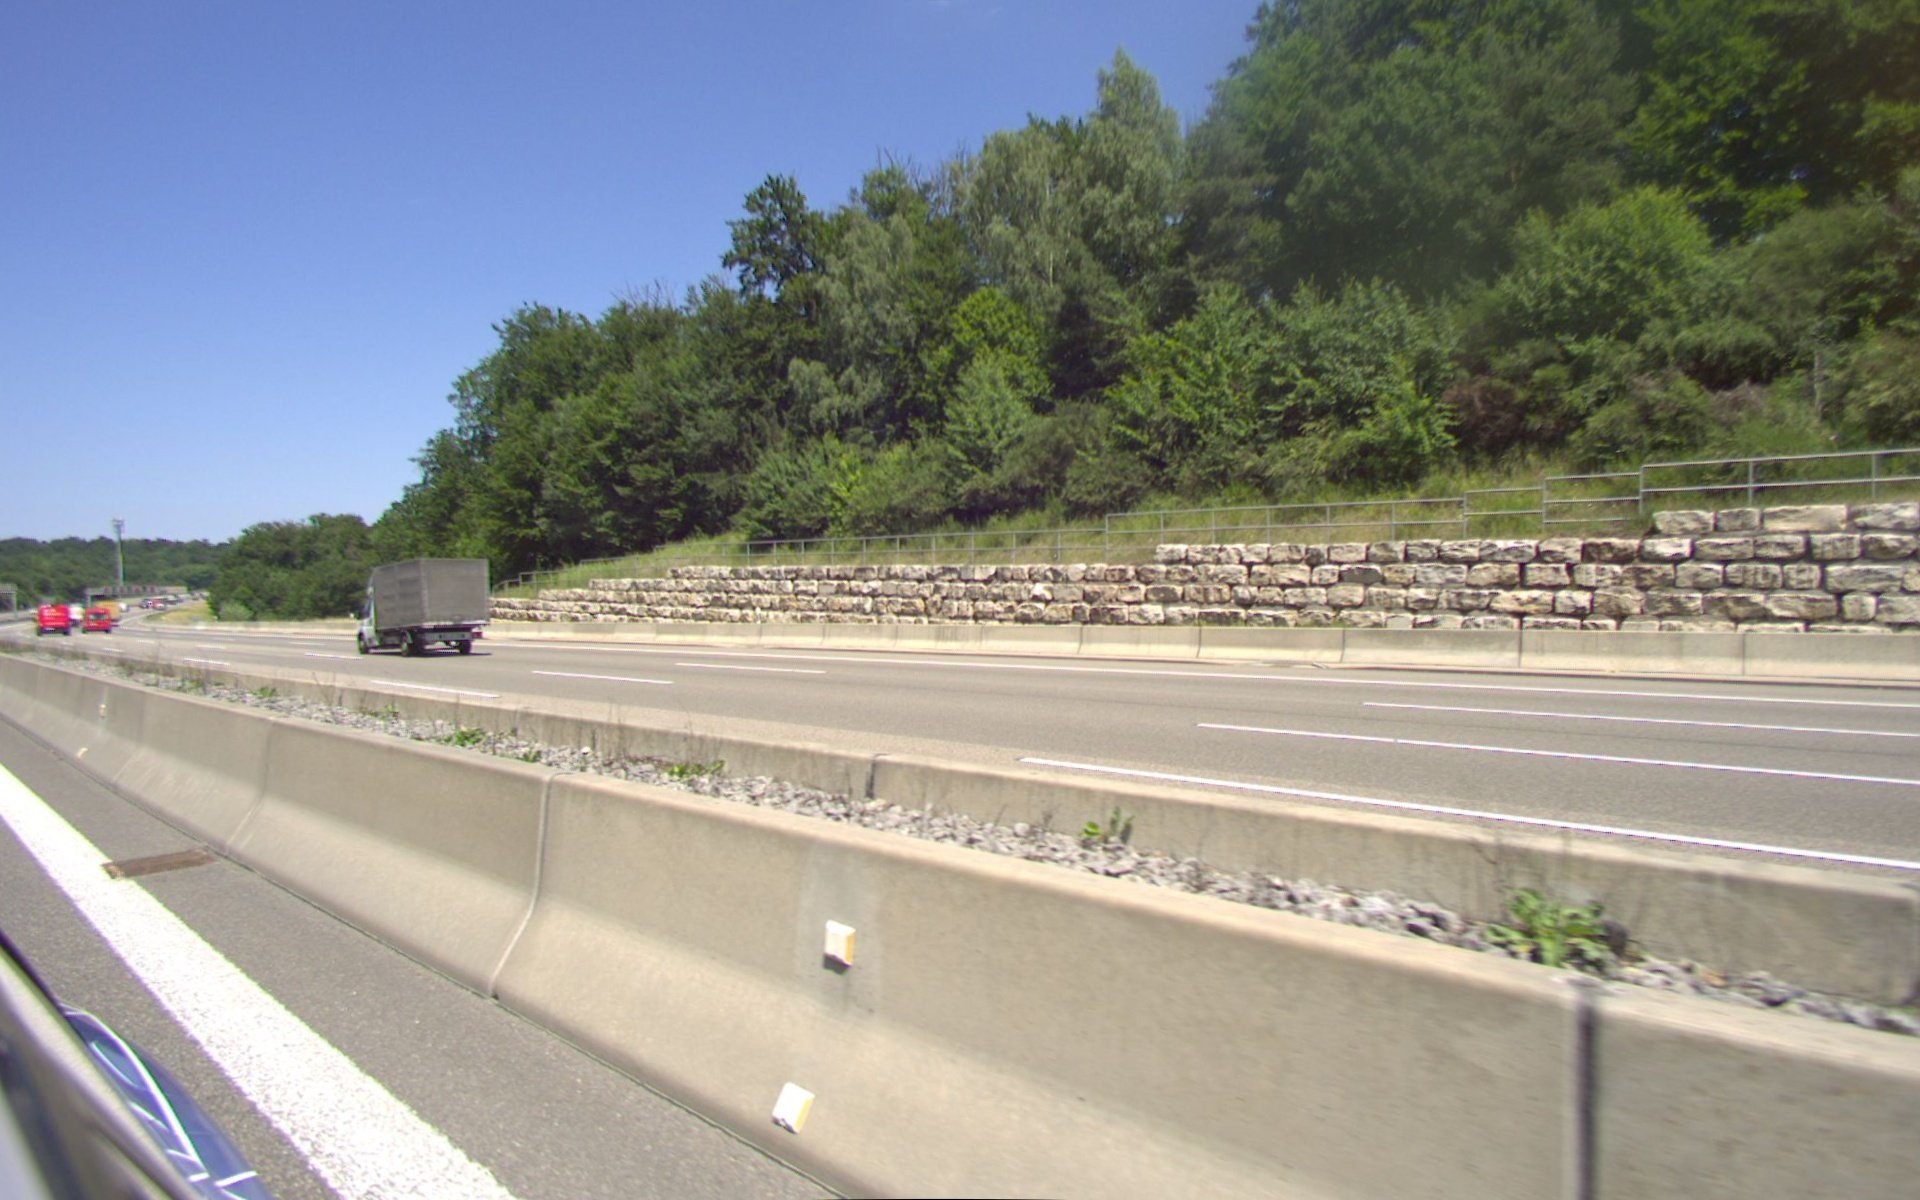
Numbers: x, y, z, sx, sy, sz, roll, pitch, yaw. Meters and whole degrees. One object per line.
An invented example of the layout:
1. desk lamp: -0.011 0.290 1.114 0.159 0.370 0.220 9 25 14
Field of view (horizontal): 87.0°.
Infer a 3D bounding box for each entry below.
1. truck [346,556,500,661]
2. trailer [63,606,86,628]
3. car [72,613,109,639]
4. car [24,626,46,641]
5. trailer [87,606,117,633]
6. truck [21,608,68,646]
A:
1. truck: -17.996 0.284 33.721 6.918 3.167 2.252 -1 1 42
2. trailer: -159.096 3.077 181.771 2.509 3.910 11.702 0 -1 -45
3. car: -81.557 2.478 94.891 5.803 2.304 1.972 -2 0 43
4. car: -122.441 4.414 133.926 1.971 1.885 5.255 -2 1 -45
5. trailer: -137.657 3.156 162.312 2.691 4.035 13.733 0 -1 -44
6. truck: -75.487 2.259 83.382 7.011 2.999 2.088 -3 -1 41
